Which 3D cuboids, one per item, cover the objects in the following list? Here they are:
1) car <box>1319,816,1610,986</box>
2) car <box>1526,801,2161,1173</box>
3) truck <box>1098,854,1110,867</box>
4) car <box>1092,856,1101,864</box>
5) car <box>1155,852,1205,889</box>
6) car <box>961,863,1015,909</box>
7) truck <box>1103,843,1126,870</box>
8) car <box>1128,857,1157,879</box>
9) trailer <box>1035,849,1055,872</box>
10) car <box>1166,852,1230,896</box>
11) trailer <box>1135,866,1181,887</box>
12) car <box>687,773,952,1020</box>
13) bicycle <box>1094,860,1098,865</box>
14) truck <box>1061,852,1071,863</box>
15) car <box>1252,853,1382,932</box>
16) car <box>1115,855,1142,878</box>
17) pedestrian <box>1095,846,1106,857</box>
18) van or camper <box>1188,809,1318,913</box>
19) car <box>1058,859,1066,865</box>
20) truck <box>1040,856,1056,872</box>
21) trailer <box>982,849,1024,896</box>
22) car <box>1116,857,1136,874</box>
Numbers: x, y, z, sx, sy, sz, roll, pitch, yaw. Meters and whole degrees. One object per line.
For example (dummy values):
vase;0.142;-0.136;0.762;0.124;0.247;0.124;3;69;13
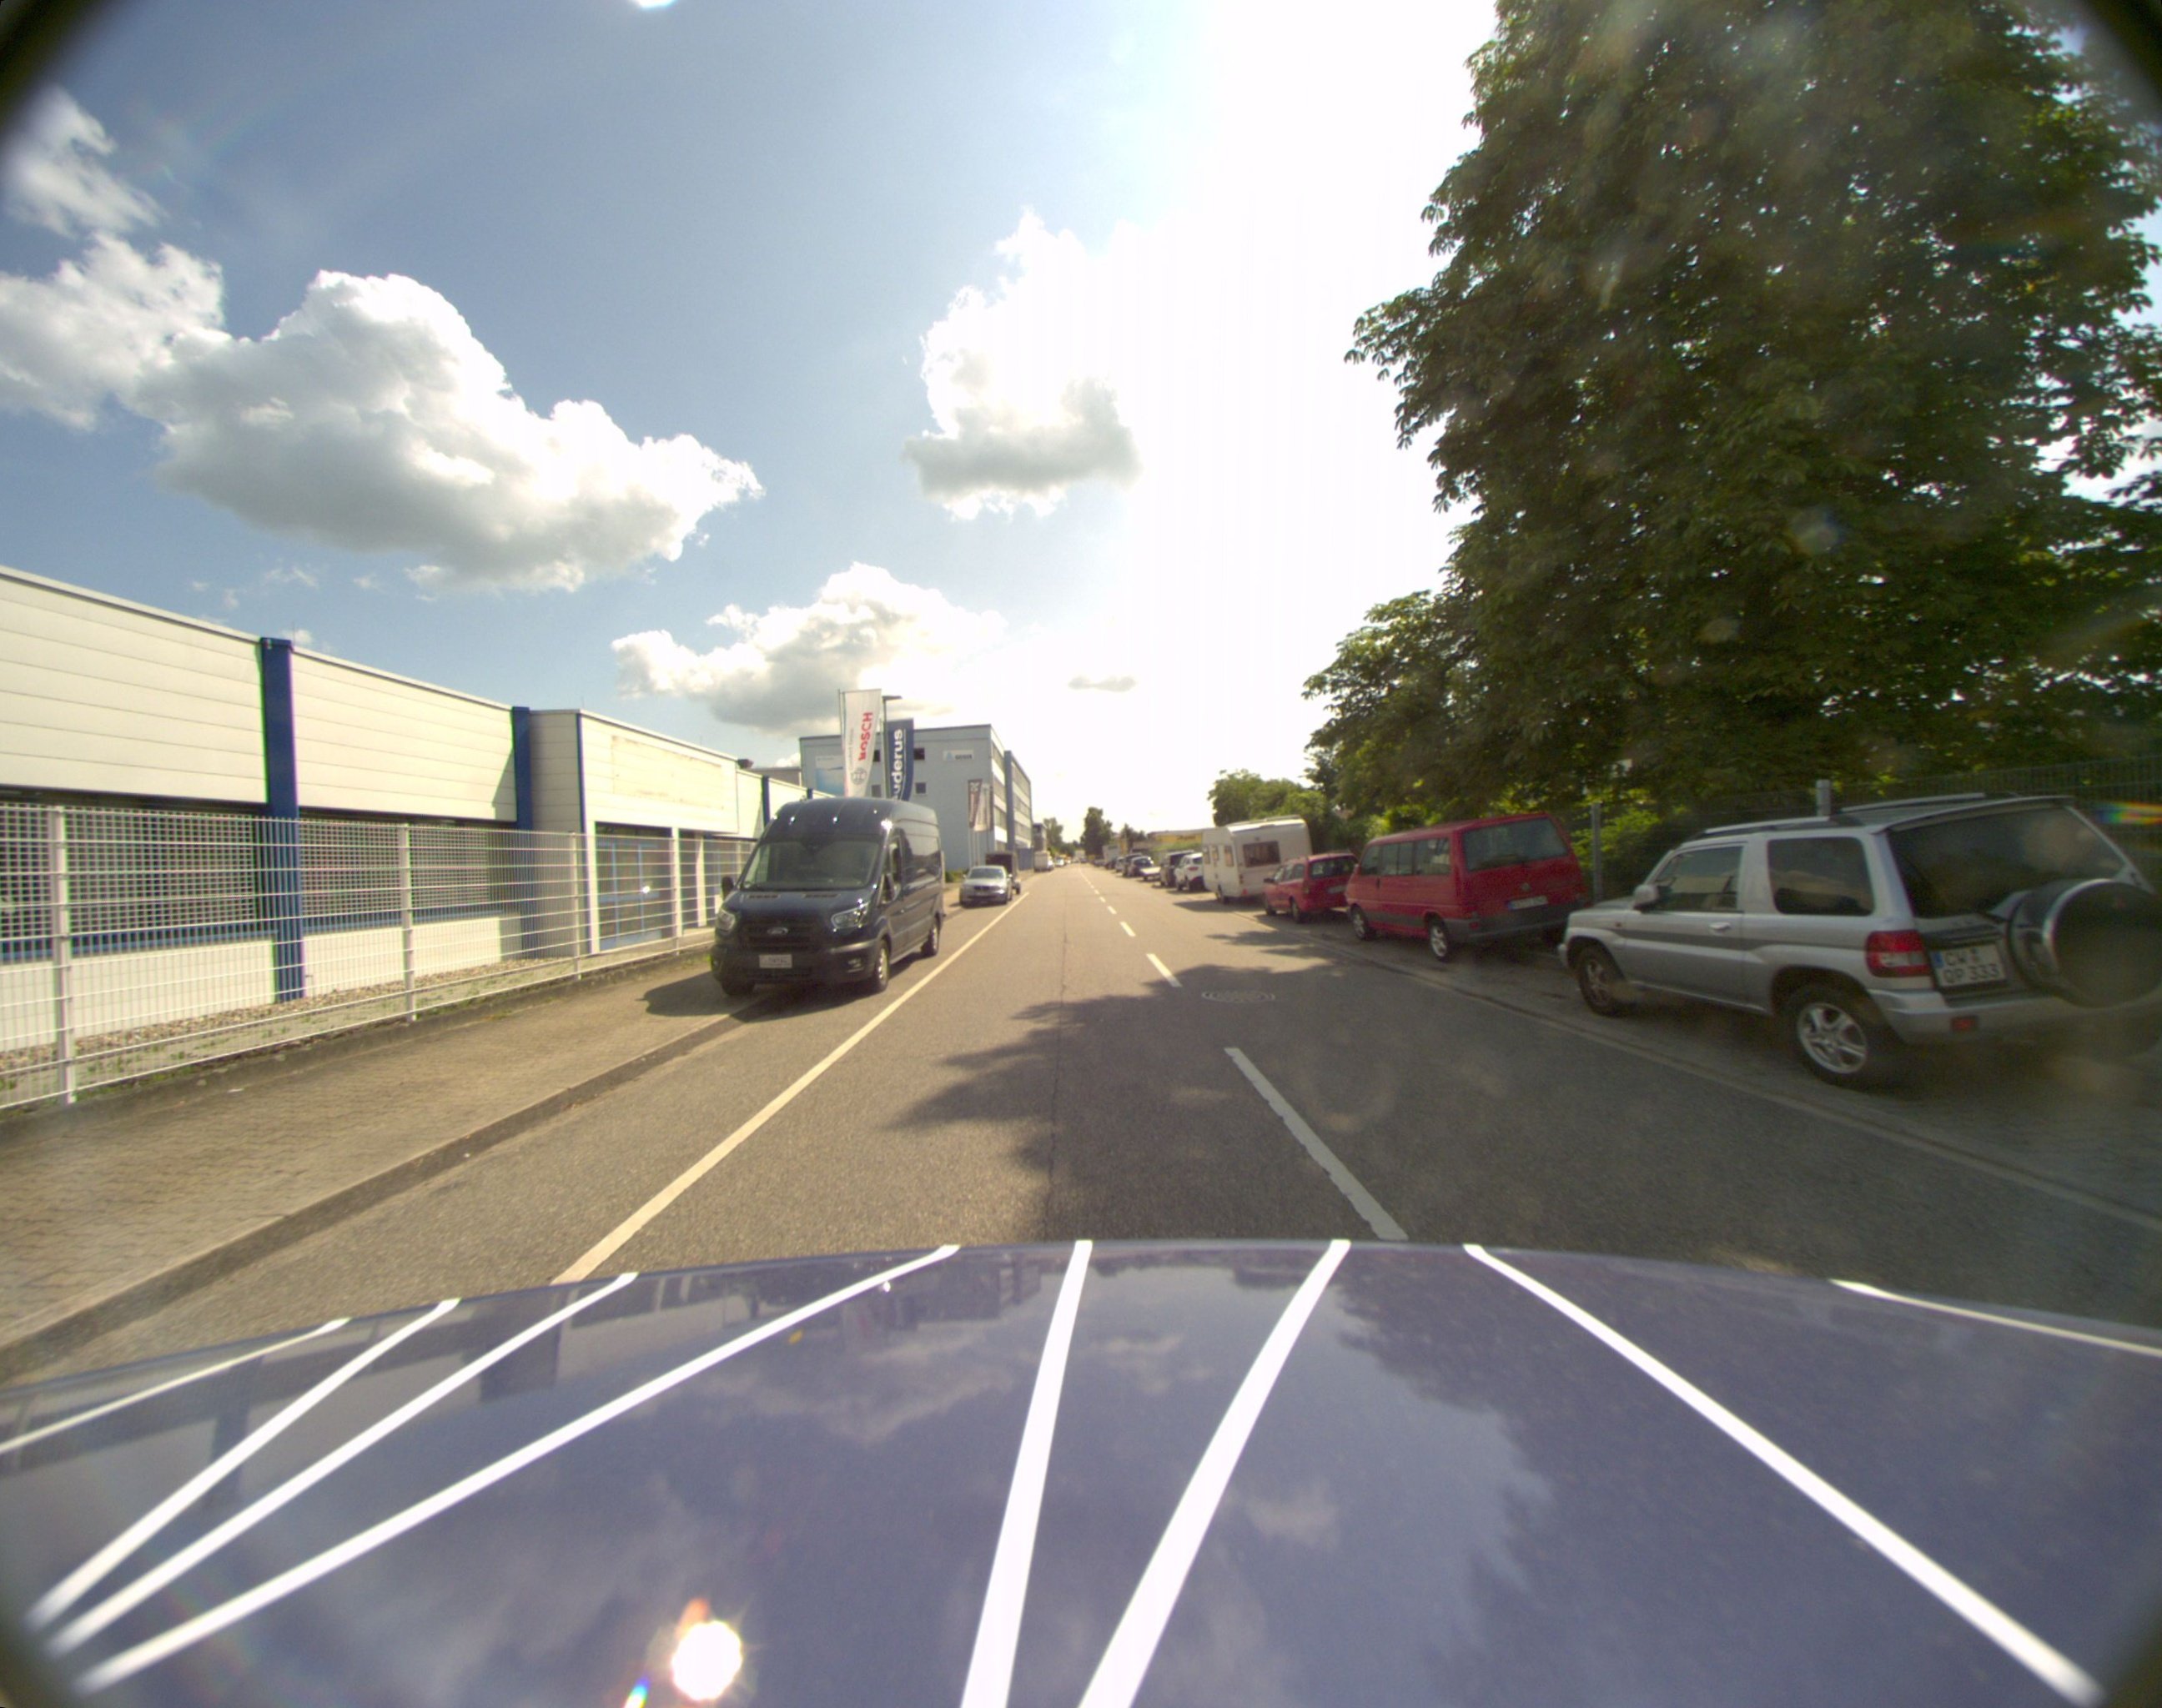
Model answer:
car;5.724;0.596;12.263;1.903;1.943;4.957;-8;0;-1
car;5.448;0.682;5.838;1.704;1.791;3.827;-6;0;1
truck;4.462;1.310;148.091;2.133;2.225;7.350;-5;0;2
car;4.352;1.721;212.683;1.997;2.289;4.003;-3;0;9
car;5.146;0.842;40.141;1.832;1.783;4.735;-2;0;-1
car;-3.453;1.163;28.840;1.576;1.498;4.132;-3;0;-1
truck;4.550;0.372;103.614;2.256;3.342;6.906;-7;0;-1
car;4.633;1.038;57.896;1.581;1.504;4.200;-3;0;-3
trailer;-4.302;0.770;90.993;1.873;2.538;5.072;-2;0;2
car;5.131;0.842;33.917;1.688;1.682;4.443;-7;0;-4
trailer;4.906;1.386;49.376;2.277;0.878;7.131;-7;0;1
car;-3.469;0.489;11.643;1.942;2.732;6.154;-2;0;-1
bicycle;2.504;1.352;124.634;0.589;0.737;2.125;-2;0;2
truck;-3.961;0.960;206.290;2.402;2.787;6.375;-2;0;1
car;5.524;0.819;18.393;1.629;1.523;4.268;-6;0;-1
car;3.864;1.002;62.806;1.806;1.739;4.712;-2;0;-1
pedestrian;3.856;-0.577;147.597;1.998;2.002;4.000;-4;0;1
van or camper;5.477;0.194;25.437;2.269;2.787;6.832;-6;0;-2
car;-4.396;1.909;174.465;1.657;1.324;4.000;-3;0;-1
truck;-4.508;1.298;103.583;1.969;2.023;4.734;-3;0;-1
trailer;-3.614;0.848;35.548;1.605;2.025;2.740;-3;0;-1
car;4.514;1.136;76.611;1.619;1.474;3.709;-5;0;-1
